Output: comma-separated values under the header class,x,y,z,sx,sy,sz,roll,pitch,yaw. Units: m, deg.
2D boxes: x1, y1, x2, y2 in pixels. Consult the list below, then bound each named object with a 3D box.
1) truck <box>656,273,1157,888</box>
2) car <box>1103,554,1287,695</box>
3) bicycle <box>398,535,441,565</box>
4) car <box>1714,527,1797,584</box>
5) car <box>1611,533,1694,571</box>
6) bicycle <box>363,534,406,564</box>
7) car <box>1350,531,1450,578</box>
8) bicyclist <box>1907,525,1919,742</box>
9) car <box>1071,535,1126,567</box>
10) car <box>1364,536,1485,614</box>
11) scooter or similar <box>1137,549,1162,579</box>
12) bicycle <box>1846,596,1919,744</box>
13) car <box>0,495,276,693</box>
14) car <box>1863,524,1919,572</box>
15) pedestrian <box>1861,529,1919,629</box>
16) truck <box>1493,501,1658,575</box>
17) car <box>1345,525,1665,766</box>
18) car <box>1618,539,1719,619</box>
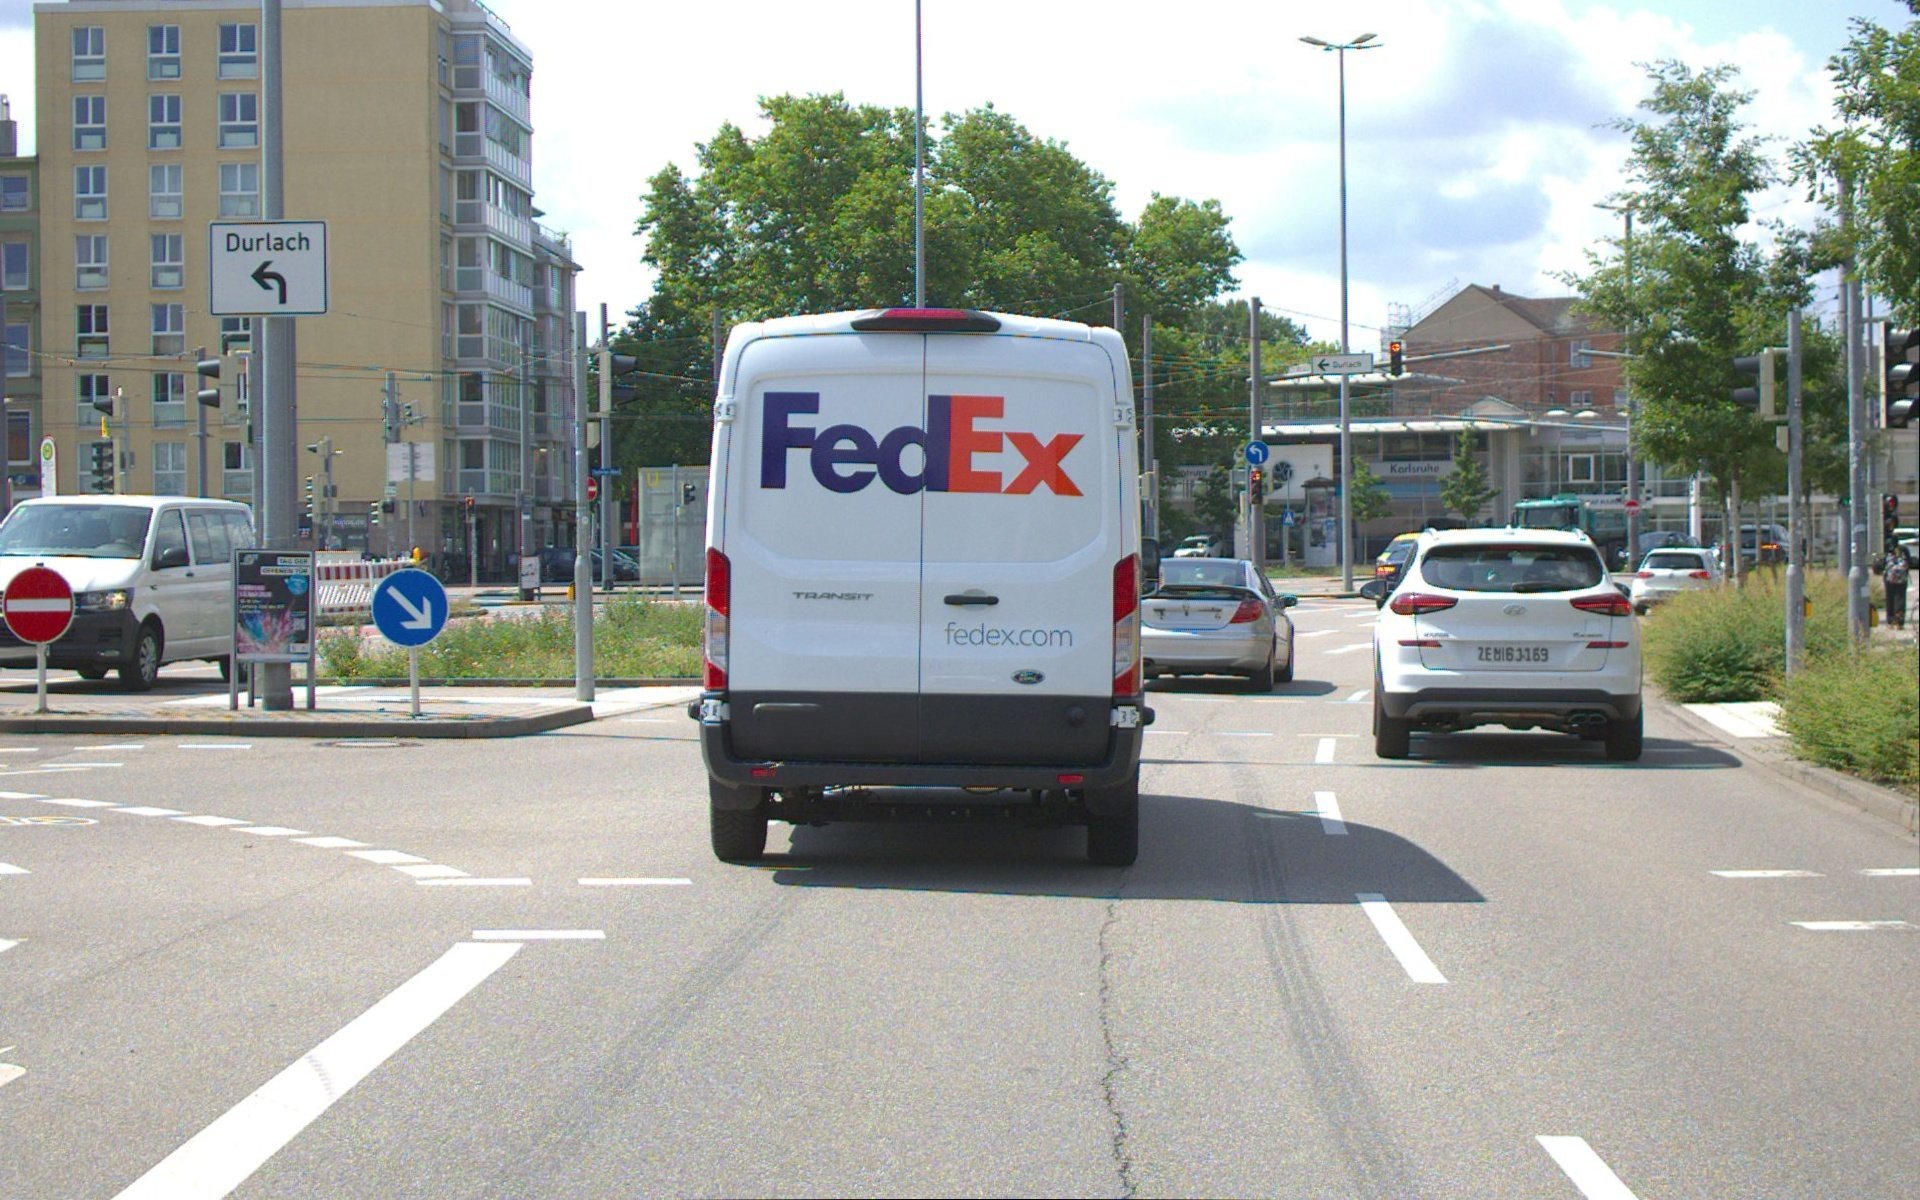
class,x,y,z,sx,sy,sz,roll,pitch,yaw
truck,-0.109,-0.119,17.823,2.137,2.631,5.917,1,1,2
car,2.567,0.224,36.804,1.742,1.387,4.179,0,1,7
bicycle,-21.078,-1.955,133.992,0.510,1.143,2.133,1,0,-45
car,23.692,-1.331,102.344,1.883,1.635,3.953,0,1,21
car,27.424,-1.910,136.098,1.656,1.464,4.145,0,1,36
bicycle,-22.369,-1.975,133.533,0.510,1.143,2.133,1,0,-45
car,17.540,-1.838,136.975,1.722,1.794,4.730,-1,1,38
bicyclist,7.436,0.229,25.053,0.828,1.596,0.580,-3,0,1
car,7.379,-2.595,182.623,1.995,1.568,4.175,1,0,15
car,10.263,-0.567,75.742,1.930,1.635,4.789,0,1,17
scooter or similar,7.233,-1.375,131.262,0.378,1.112,1.093,1,0,37
bicycle,7.458,0.472,25.051,1.809,1.046,0.592,-3,0,1
car,-8.716,-0.108,35.244,1.881,1.888,4.868,0,1,7
car,32.687,-1.804,118.948,1.884,1.635,3.951,0,1,29
pedestrian,14.991,-0.333,55.279,0.756,1.584,0.761,1,0,-4
truck,24.637,-2.492,137.254,2.891,2.842,8.774,0,1,37
car,3.947,0.264,25.520,1.881,1.635,4.232,0,1,3
car,15.238,-0.474,73.851,1.882,1.635,3.954,0,1,15
